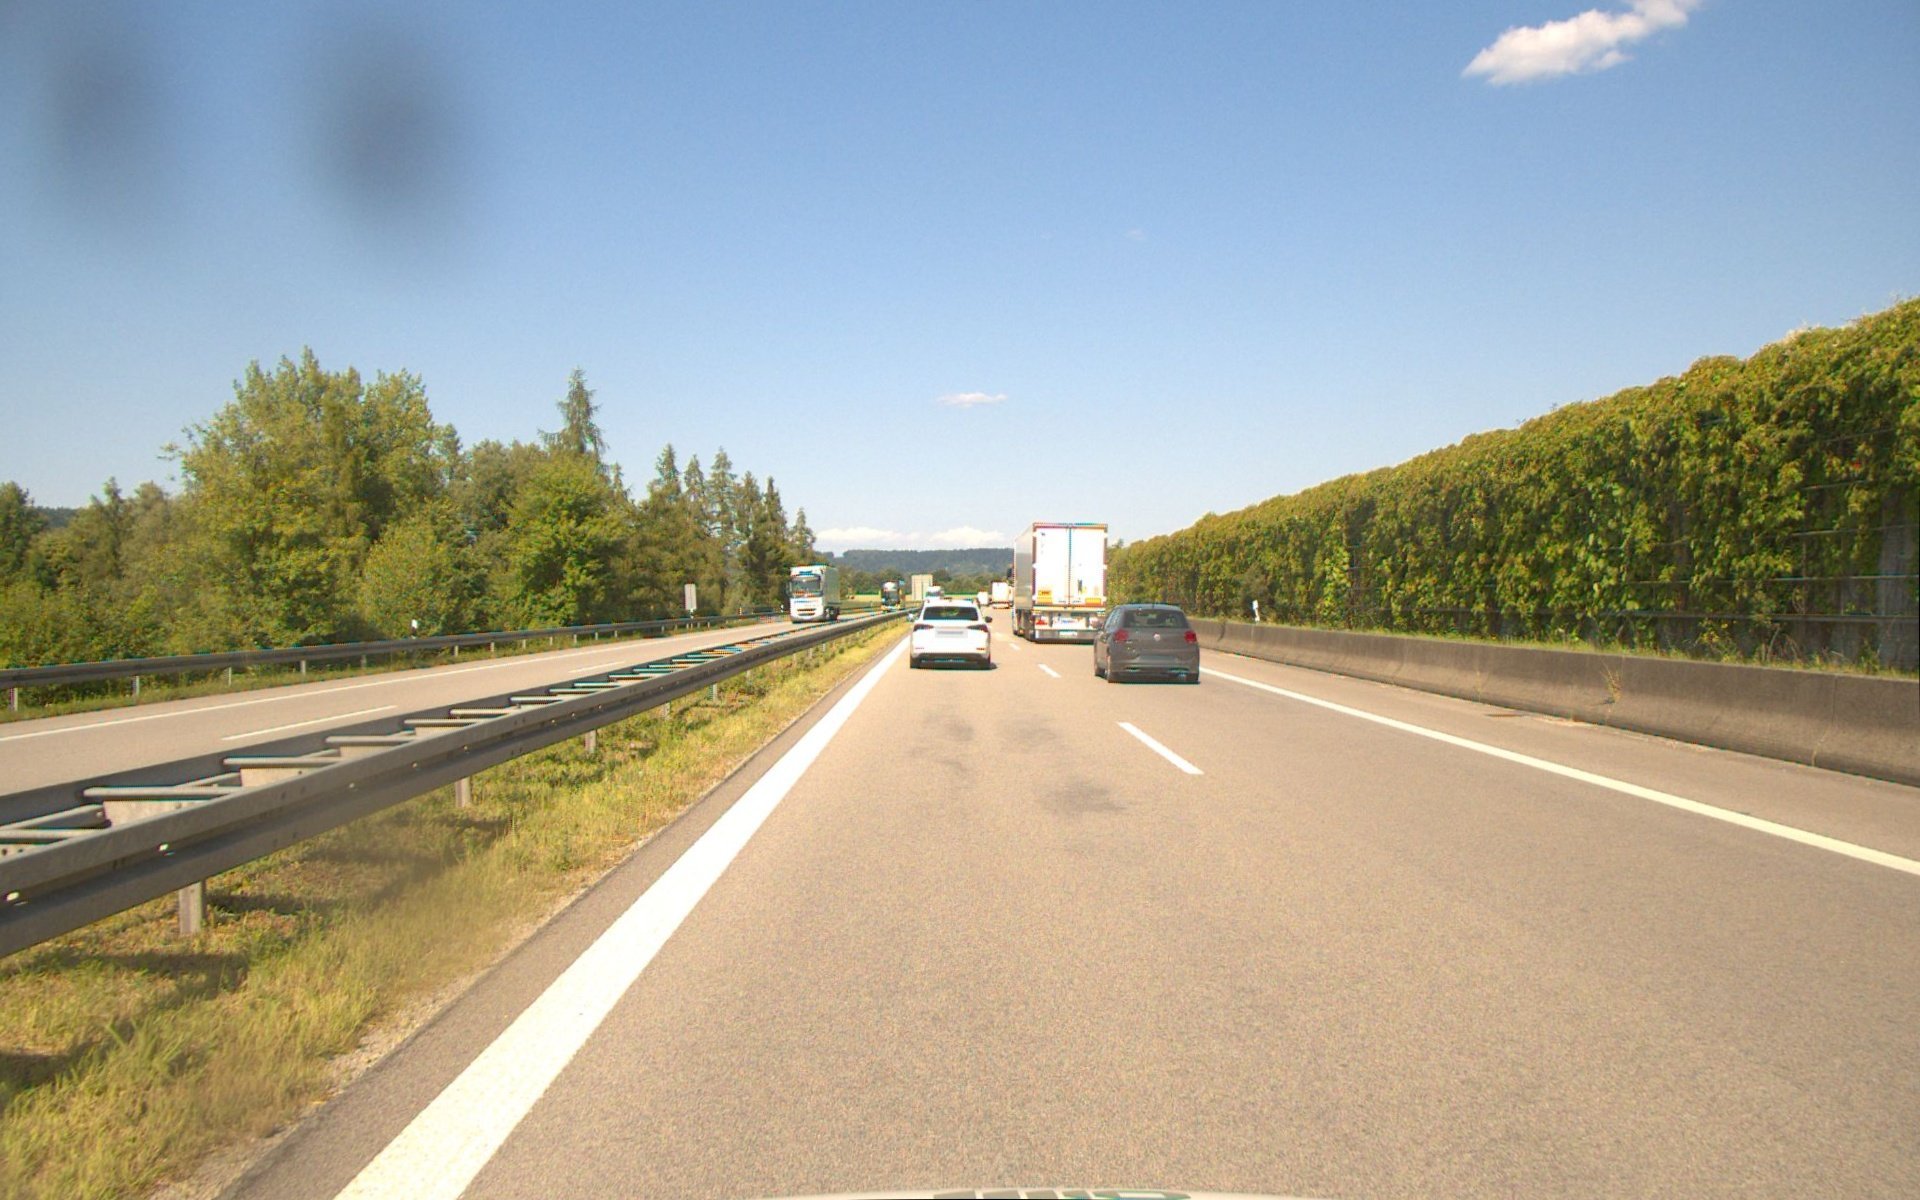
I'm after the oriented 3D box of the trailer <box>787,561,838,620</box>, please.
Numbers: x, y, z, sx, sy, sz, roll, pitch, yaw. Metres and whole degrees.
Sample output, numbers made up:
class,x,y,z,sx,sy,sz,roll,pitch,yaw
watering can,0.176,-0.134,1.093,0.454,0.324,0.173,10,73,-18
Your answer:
class,x,y,z,sx,sy,sz,roll,pitch,yaw
trailer,-10.996,-0.718,124.491,2.607,4.078,14.086,-2,0,-1

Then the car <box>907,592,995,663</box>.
class,x,y,z,sx,sy,sz,roll,pitch,yaw
car,-0.200,0.569,36.997,1.802,1.446,5.254,1,0,0

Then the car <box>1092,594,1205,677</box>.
class,x,y,z,sx,sy,sz,roll,pitch,yaw
car,3.545,0.628,31.846,1.631,1.480,4.544,1,0,0

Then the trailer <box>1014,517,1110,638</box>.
class,x,y,z,sx,sy,sz,roll,pitch,yaw
trailer,3.668,-0.792,62.993,2.761,4.035,14.160,-2,0,0

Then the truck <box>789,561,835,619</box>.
class,x,y,z,sx,sy,sz,roll,pitch,yaw
truck,-10.794,-0.721,121.014,2.590,4.078,7.192,-2,0,0

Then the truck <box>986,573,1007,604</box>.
class,x,y,z,sx,sy,sz,roll,pitch,yaw
truck,5.602,-1.783,253.794,3.087,4.693,8.905,-1,0,1

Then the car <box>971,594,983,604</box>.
class,x,y,z,sx,sy,sz,roll,pitch,yaw
car,2.682,-0.156,255.260,1.734,1.446,4.366,0,0,2

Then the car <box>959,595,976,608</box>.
class,x,y,z,sx,sy,sz,roll,pitch,yaw
car,0.843,0.156,178.571,1.735,1.446,4.494,0,0,-1

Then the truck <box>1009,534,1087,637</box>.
class,x,y,z,sx,sy,sz,roll,pitch,yaw
truck,3.626,-0.601,69.685,2.782,4.036,7.043,-2,0,0
